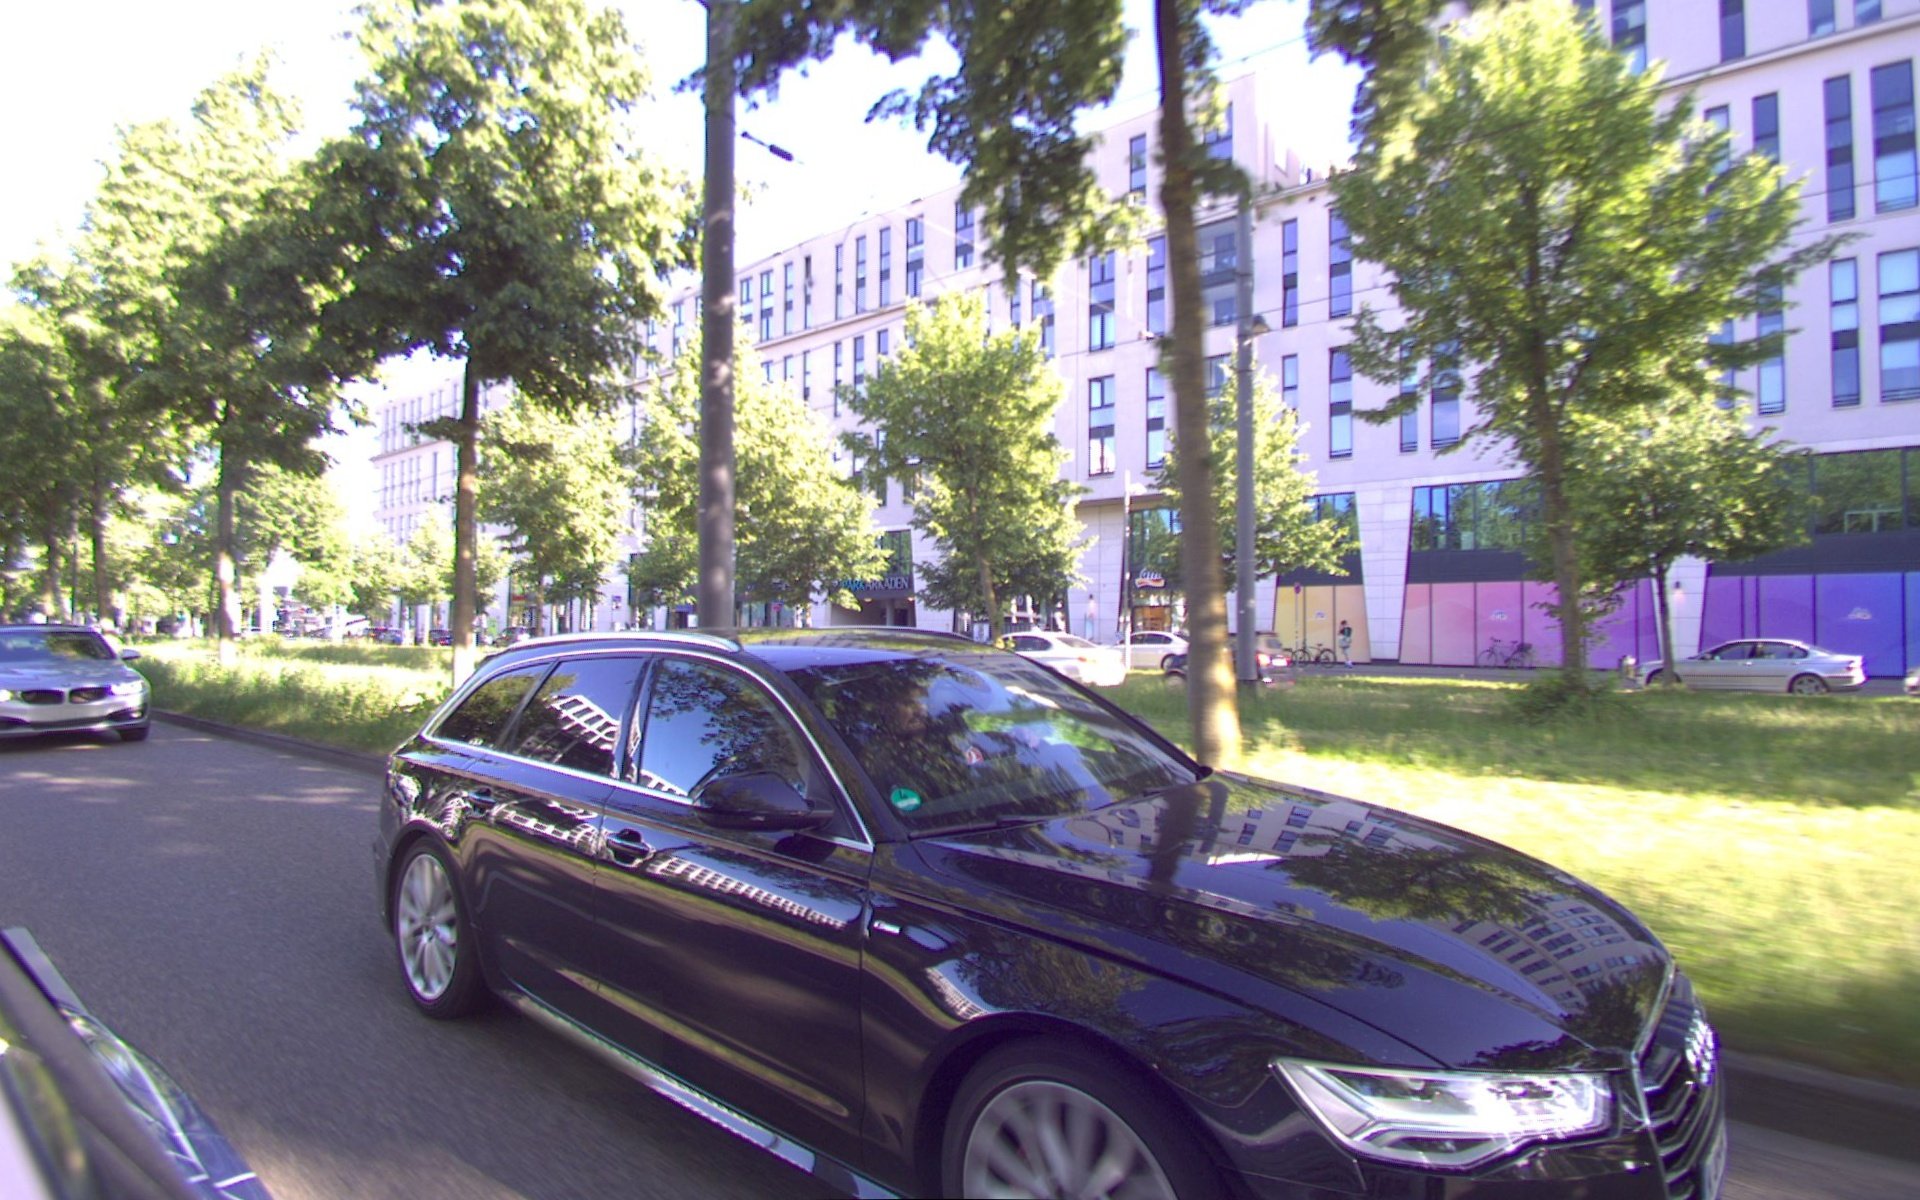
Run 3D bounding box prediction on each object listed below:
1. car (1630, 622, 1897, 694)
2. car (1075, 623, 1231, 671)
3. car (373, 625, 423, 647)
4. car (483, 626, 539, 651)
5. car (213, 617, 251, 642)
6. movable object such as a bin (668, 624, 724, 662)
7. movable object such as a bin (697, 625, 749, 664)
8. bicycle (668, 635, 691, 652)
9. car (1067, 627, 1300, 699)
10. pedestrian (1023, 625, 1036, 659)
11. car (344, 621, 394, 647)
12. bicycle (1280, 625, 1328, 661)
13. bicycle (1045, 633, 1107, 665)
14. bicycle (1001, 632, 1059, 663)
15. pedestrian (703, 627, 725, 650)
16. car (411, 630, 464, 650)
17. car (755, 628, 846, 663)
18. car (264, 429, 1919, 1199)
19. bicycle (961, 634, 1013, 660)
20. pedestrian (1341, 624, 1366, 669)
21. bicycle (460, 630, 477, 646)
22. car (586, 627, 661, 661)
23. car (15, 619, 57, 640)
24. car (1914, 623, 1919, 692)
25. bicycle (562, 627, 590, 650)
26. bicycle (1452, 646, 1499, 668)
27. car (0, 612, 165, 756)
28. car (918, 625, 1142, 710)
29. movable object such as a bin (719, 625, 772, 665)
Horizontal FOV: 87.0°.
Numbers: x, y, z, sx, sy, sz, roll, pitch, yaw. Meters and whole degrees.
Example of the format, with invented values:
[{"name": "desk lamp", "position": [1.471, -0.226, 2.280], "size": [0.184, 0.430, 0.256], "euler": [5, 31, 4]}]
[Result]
[{"name": "car", "position": [18.786, 1.289, 23.922], "size": [4.773, 1.452, 1.974], "euler": [-1, 0, 39]}, {"name": "car", "position": [6.555, 1.554, 34.709], "size": [4.919, 1.452, 1.974], "euler": [-1, 0, 39]}, {"name": "car", "position": [-43.138, 2.749, 77.662], "size": [3.995, 1.584, 1.974], "euler": [-1, -2, 38]}, {"name": "car", "position": [-28.553, 2.420, 64.347], "size": [4.268, 1.491, 1.542], "euler": [-1, -1, 40]}, {"name": "car", "position": [-63.173, 2.532, 87.796], "size": [4.001, 2.029, 1.971], "euler": [-1, 0, 44]}, {"name": "movable object such as a bin", "position": [-13.334, 2.173, 51.187], "size": [2.008, 1.808, 1.951], "euler": [-1, 0, 38]}, {"name": "movable object such as a bin", "position": [-11.704, 2.153, 49.932], "size": [1.554, 1.808, 1.951], "euler": [-1, 0, 39]}, {"name": "bicycle", "position": [-18.111, 2.792, 65.326], "size": [0.610, 0.996, 1.850], "euler": [0, 0, -44]}, {"name": "car", "position": [5.206, 1.409, 24.041], "size": [5.109, 1.452, 1.972], "euler": [-1, 0, 42]}, {"name": "pedestrian", "position": [3.286, 1.977, 47.564], "size": [0.494, 1.561, 0.522], "euler": [-1, 0, -7]}, {"name": "car", "position": [-47.563, 2.720, 81.422], "size": [4.548, 2.029, 1.974], "euler": [-1, -2, 38]}, {"name": "bicycle", "position": [12.951, 1.595, 38.107], "size": [1.606, 1.290, 0.592], "euler": [-1, 0, 39]}, {"name": "bicycle", "position": [5.061, 2.116, 44.230], "size": [0.935, 1.290, 2.775], "euler": [-1, 0, -42]}, {"name": "bicycle", "position": [3.207, 2.174, 46.736], "size": [0.935, 1.290, 2.775], "euler": [-1, 0, -42]}, {"name": "pedestrian", "position": [-16.021, 2.497, 65.841], "size": [1.024, 1.479, 0.939], "euler": [-1, 0, 32]}, {"name": "car", "position": [-37.636, 2.841, 72.821], "size": [4.331, 1.424, 1.707], "euler": [-1, -2, 38]}, {"name": "car", "position": [-7.377, 2.052, 46.566], "size": [4.015, 1.452, 1.974], "euler": [-1, 0, 39]}, {"name": "car", "position": [-0.314, 0.667, 3.350], "size": [5.079, 1.492, 1.933], "euler": [-2, -3, 39]}, {"name": "bicycle", "position": [1.278, 2.233, 48.400], "size": [2.369, 1.145, 0.860], "euler": [-1, 0, 32]}, {"name": "pedestrian", "position": [14.853, 1.737, 38.192], "size": [0.719, 1.663, 0.629], "euler": [-1, 0, 39]}, {"name": "bicycle", "position": [-41.488, 3.208, 85.394], "size": [0.654, 1.335, 2.338], "euler": [0, 0, -43]}, {"name": "car", "position": [-18.958, 2.446, 56.929], "size": [4.333, 1.742, 1.974], "euler": [-1, 0, 39]}, {"name": "car", "position": [-114.115, 3.636, 124.927], "size": [6.012, 2.399, 2.485], "euler": [-1, 0, 34]}, {"name": "car", "position": [22.482, 1.220, 20.502], "size": [4.453, 1.452, 1.973], "euler": [-1, 0, 41]}, {"name": "bicycle", "position": [-27.907, 2.787, 73.433], "size": [3.034, 1.557, 0.611], "euler": [-1, 0, 43]}, {"name": "bicycle", "position": [18.938, 2.095, 37.183], "size": [1.516, 0.737, 0.274], "euler": [-1, 0, 43]}, {"name": "car", "position": [-11.989, 0.968, 13.152], "size": [4.276, 1.590, 1.862], "euler": [-1, 0, 41]}, {"name": "car", "position": [1.543, 1.483, 23.823], "size": [5.107, 1.698, 1.973], "euler": [-1, 0, 41]}, {"name": "movable object such as a bin", "position": [-10.324, 2.137, 48.774], "size": [1.554, 1.808, 1.951], "euler": [-1, 0, 39]}]
